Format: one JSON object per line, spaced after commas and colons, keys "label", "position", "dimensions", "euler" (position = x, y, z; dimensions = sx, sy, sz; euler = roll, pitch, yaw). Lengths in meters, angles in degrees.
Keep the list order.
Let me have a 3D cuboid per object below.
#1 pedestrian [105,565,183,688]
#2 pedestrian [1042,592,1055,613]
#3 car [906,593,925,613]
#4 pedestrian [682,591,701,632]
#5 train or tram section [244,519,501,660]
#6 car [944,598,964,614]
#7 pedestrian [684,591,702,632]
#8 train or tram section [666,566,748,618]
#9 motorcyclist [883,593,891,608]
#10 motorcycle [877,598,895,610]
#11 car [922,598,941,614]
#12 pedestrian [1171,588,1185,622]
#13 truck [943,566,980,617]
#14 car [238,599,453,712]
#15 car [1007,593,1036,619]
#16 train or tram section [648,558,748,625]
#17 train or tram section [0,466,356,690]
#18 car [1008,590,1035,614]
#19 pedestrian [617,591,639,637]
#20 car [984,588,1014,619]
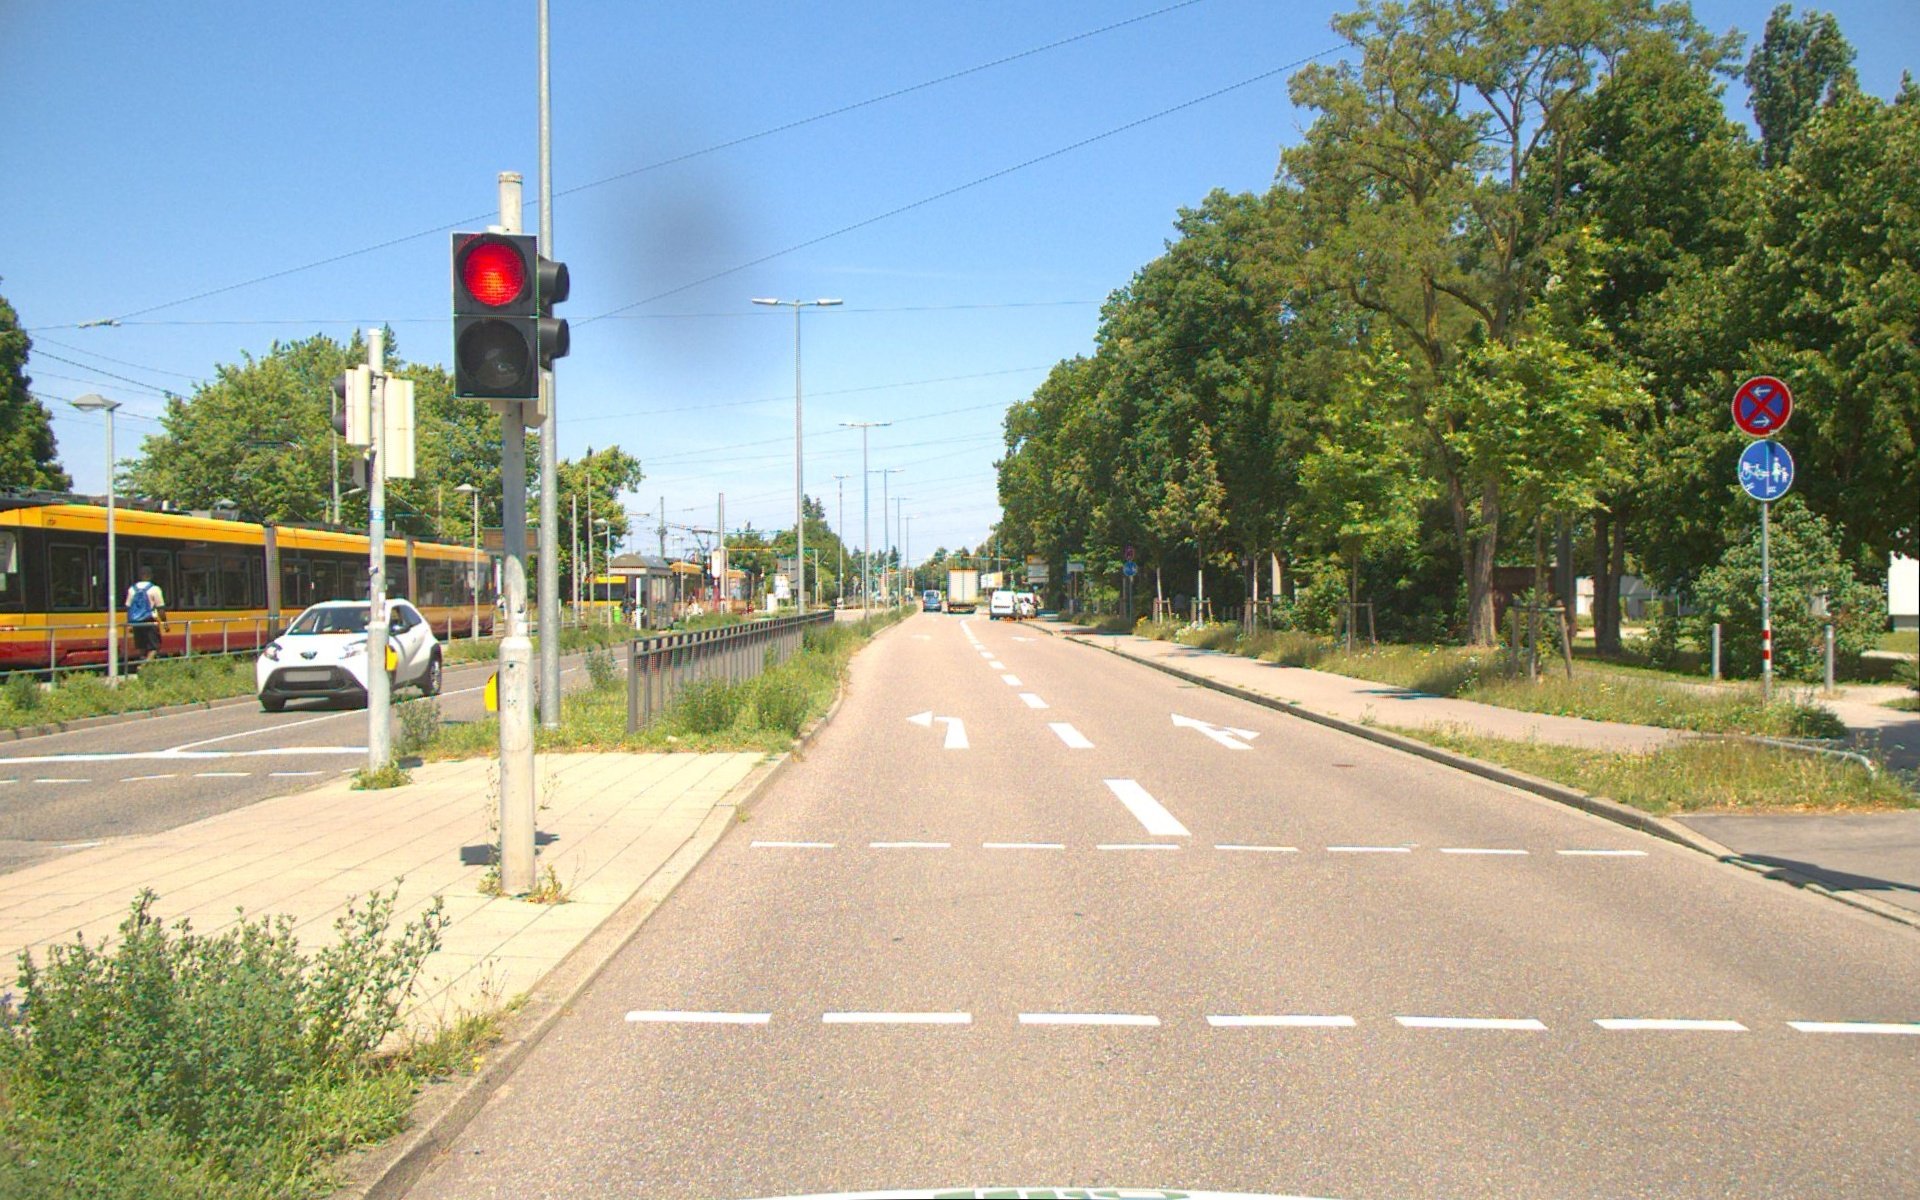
{"label": "pedestrian", "position": [-12.641, 0.394, 25.642], "dimensions": [0.703, 1.808, 0.842], "euler": [4, 2, -1]}
{"label": "pedestrian", "position": [8.722, 0.252, 163.175], "dimensions": [1.161, 2.049, 1.213], "euler": [0, 0, -1]}
{"label": "car", "position": [-4.699, 0.328, 175.087], "dimensions": [1.953, 2.049, 3.999], "euler": [0, 0, -1]}
{"label": "pedestrian", "position": [-13.743, 0.586, 84.727], "dimensions": [0.798, 2.049, 0.938], "euler": [0, 0, -1]}
{"label": "train or tram section", "position": [-19.279, -0.328, 56.343], "dimensions": [3.151, 4.000, 18.488], "euler": [0, 0, -3]}
{"label": "car", "position": [-0.591, 0.559, 153.598], "dimensions": [1.774, 1.490, 3.999], "euler": [0, 0, -1]}
{"label": "pedestrian", "position": [-13.466, 0.585, 83.437], "dimensions": [0.798, 2.049, 0.938], "euler": [0, 0, -1]}
{"label": "train or tram section", "position": [-21.736, -0.646, 139.537], "dimensions": [2.883, 3.856, 32.945], "euler": [0, 0, -16]}
{"label": "motorcyclist", "position": [-8.774, 0.040, 199.068], "dimensions": [0.908, 1.867, 0.847], "euler": [0, 0, -12]}
{"label": "motorcycle", "position": [-8.919, 0.457, 198.983], "dimensions": [2.144, 1.431, 0.845], "euler": [0, 0, -12]}
{"label": "car", "position": [-2.686, 0.518, 157.834], "dimensions": [1.774, 1.490, 3.999], "euler": [0, 0, -1]}
{"label": "pedestrian", "position": [9.410, 0.205, 71.494], "dimensions": [0.591, 1.463, 0.556], "euler": [0, 0, 6]}
{"label": "truck", "position": [0.070, -0.734, 146.063], "dimensions": [3.140, 4.435, 6.559], "euler": [0, 0, -1]}
{"label": "car", "position": [-8.958, 0.757, 24.463], "dimensions": [1.807, 1.521, 3.790], "euler": [0, 0, -1]}
{"label": "car", "position": [4.181, 0.395, 112.501], "dimensions": [1.743, 1.698, 3.999], "euler": [0, 0, -1]}
{"label": "train or tram section", "position": [-16.859, -0.560, 109.321], "dimensions": [2.898, 3.815, 30.019], "euler": [0, 0, -2]}
{"label": "train or tram section", "position": [-18.806, -0.414, 38.069], "dimensions": [3.150, 4.000, 18.498], "euler": [0, 0, 0]}
{"label": "car", "position": [4.405, 0.115, 118.852], "dimensions": [1.743, 1.698, 3.999], "euler": [0, 0, -1]}
{"label": "pedestrian", "position": [-13.850, 0.588, 69.079], "dimensions": [0.769, 1.901, 0.817], "euler": [0, 0, -1]}
{"label": "car", "position": [2.453, 0.217, 105.547], "dimensions": [1.743, 1.937, 3.999], "euler": [0, 0, -1]}
